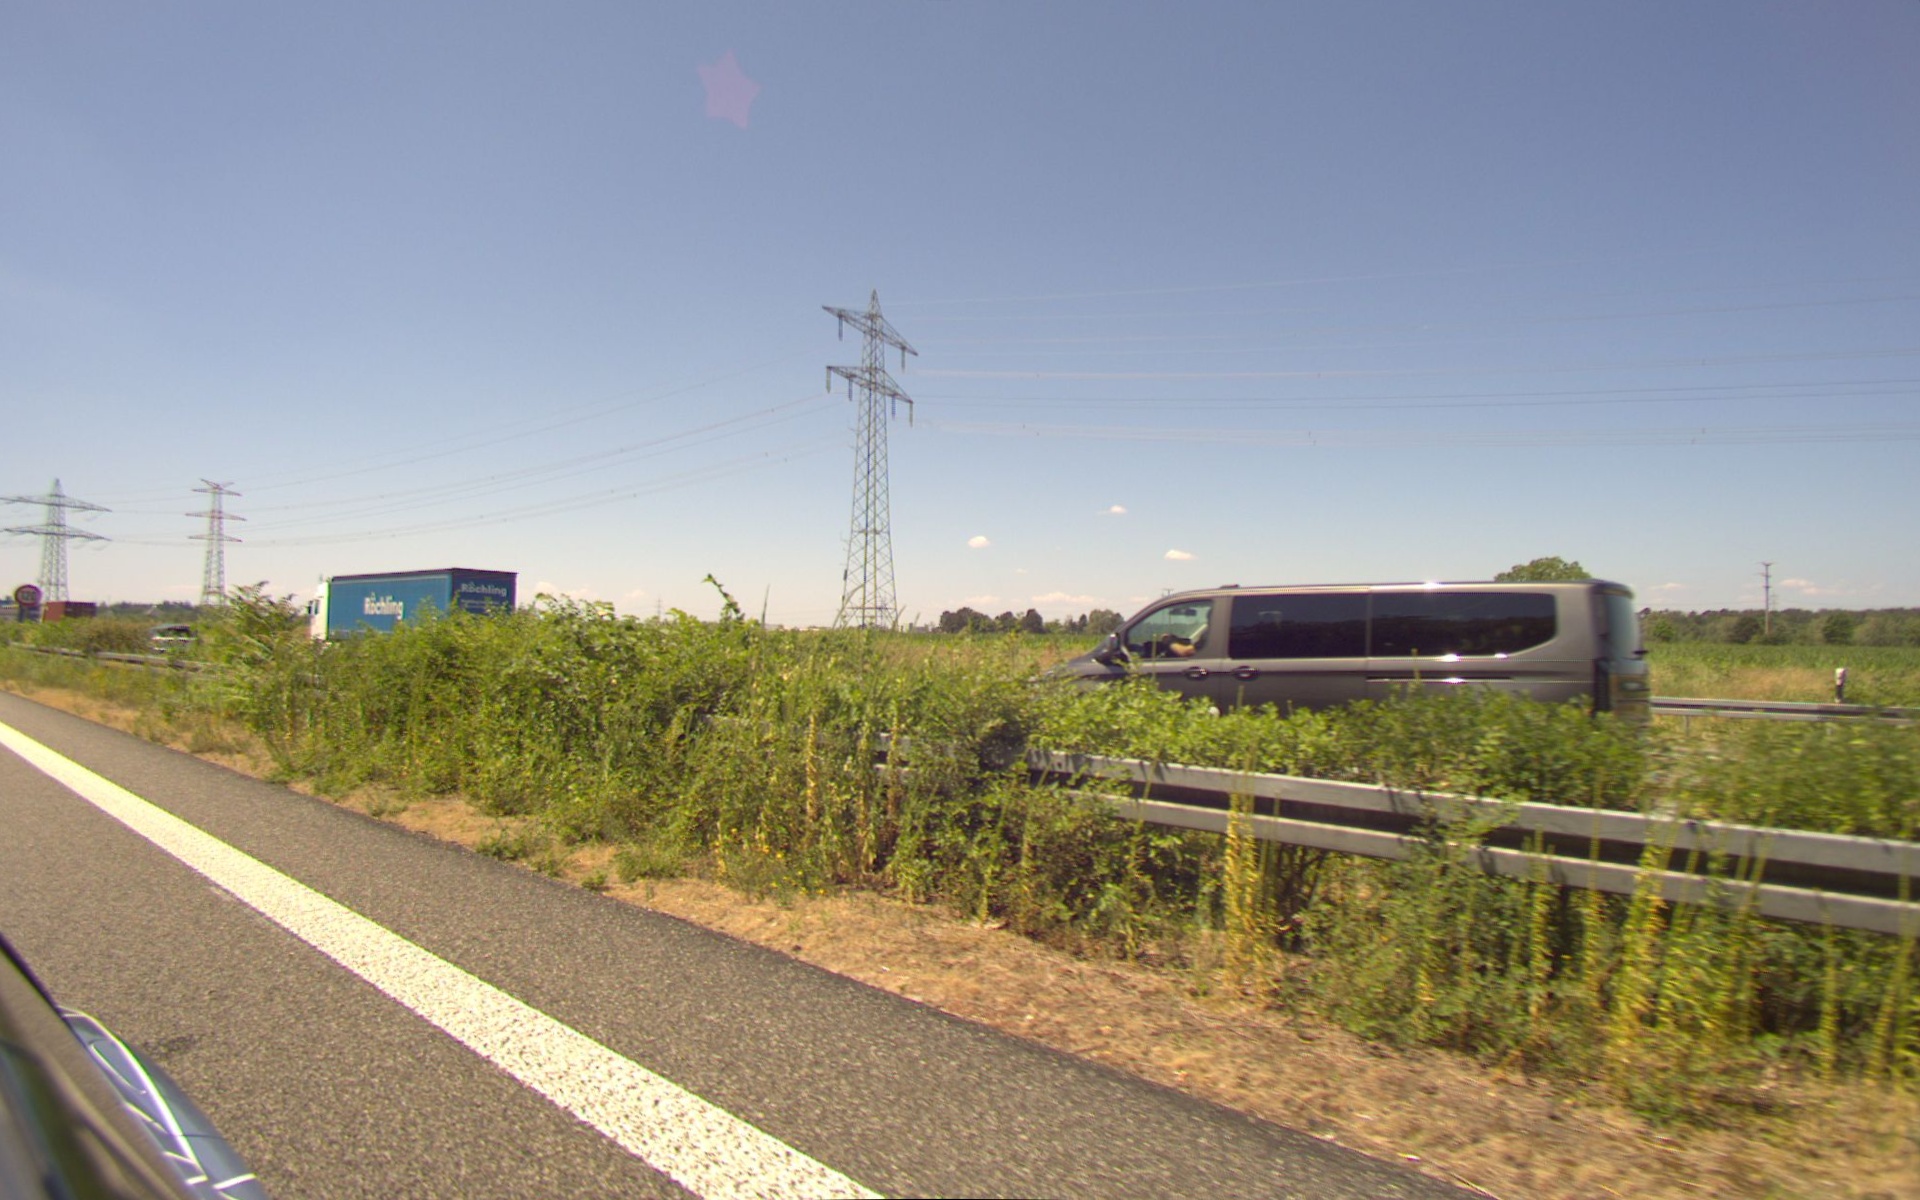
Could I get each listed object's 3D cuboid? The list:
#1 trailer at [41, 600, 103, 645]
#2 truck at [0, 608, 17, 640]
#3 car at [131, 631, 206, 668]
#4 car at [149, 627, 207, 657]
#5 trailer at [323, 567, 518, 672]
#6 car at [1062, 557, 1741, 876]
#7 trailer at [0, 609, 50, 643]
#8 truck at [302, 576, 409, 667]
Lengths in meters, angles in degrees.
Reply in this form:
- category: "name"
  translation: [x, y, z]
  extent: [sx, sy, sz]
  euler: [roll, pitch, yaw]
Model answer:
- category: "trailer"
  translation: [-90.267, 2.302, 102.782]
  extent: [12.265, 4.339, 3.160]
  euler: [-1, -1, 41]
- category: "truck"
  translation: [-105.511, 2.651, 110.486]
  extent: [9.364, 3.439, 2.905]
  euler: [-2, -3, 42]
- category: "car"
  translation: [-31.910, 1.959, 40.751]
  extent: [4.329, 1.409, 1.614]
  euler: [-1, -3, 42]
- category: "car"
  translation: [-44.368, 2.344, 57.394]
  extent: [4.606, 1.645, 1.734]
  euler: [-2, -3, 42]
- category: "trailer"
  translation: [-23.753, 0.891, 43.919]
  extent: [13.902, 3.968, 2.665]
  euler: [-1, -3, 41]
- category: "car"
  translation: [3.558, 0.813, 8.871]
  extent: [5.114, 2.029, 1.973]
  euler: [-1, -2, 40]
- category: "trailer"
  translation: [-114.905, 3.185, 124.243]
  extent: [14.134, 4.008, 2.820]
  euler: [-1, -3, 41]
- category: "truck"
  translation: [-29.043, 1.044, 48.530]
  extent: [5.798, 4.100, 2.668]
  euler: [-1, -3, 41]
